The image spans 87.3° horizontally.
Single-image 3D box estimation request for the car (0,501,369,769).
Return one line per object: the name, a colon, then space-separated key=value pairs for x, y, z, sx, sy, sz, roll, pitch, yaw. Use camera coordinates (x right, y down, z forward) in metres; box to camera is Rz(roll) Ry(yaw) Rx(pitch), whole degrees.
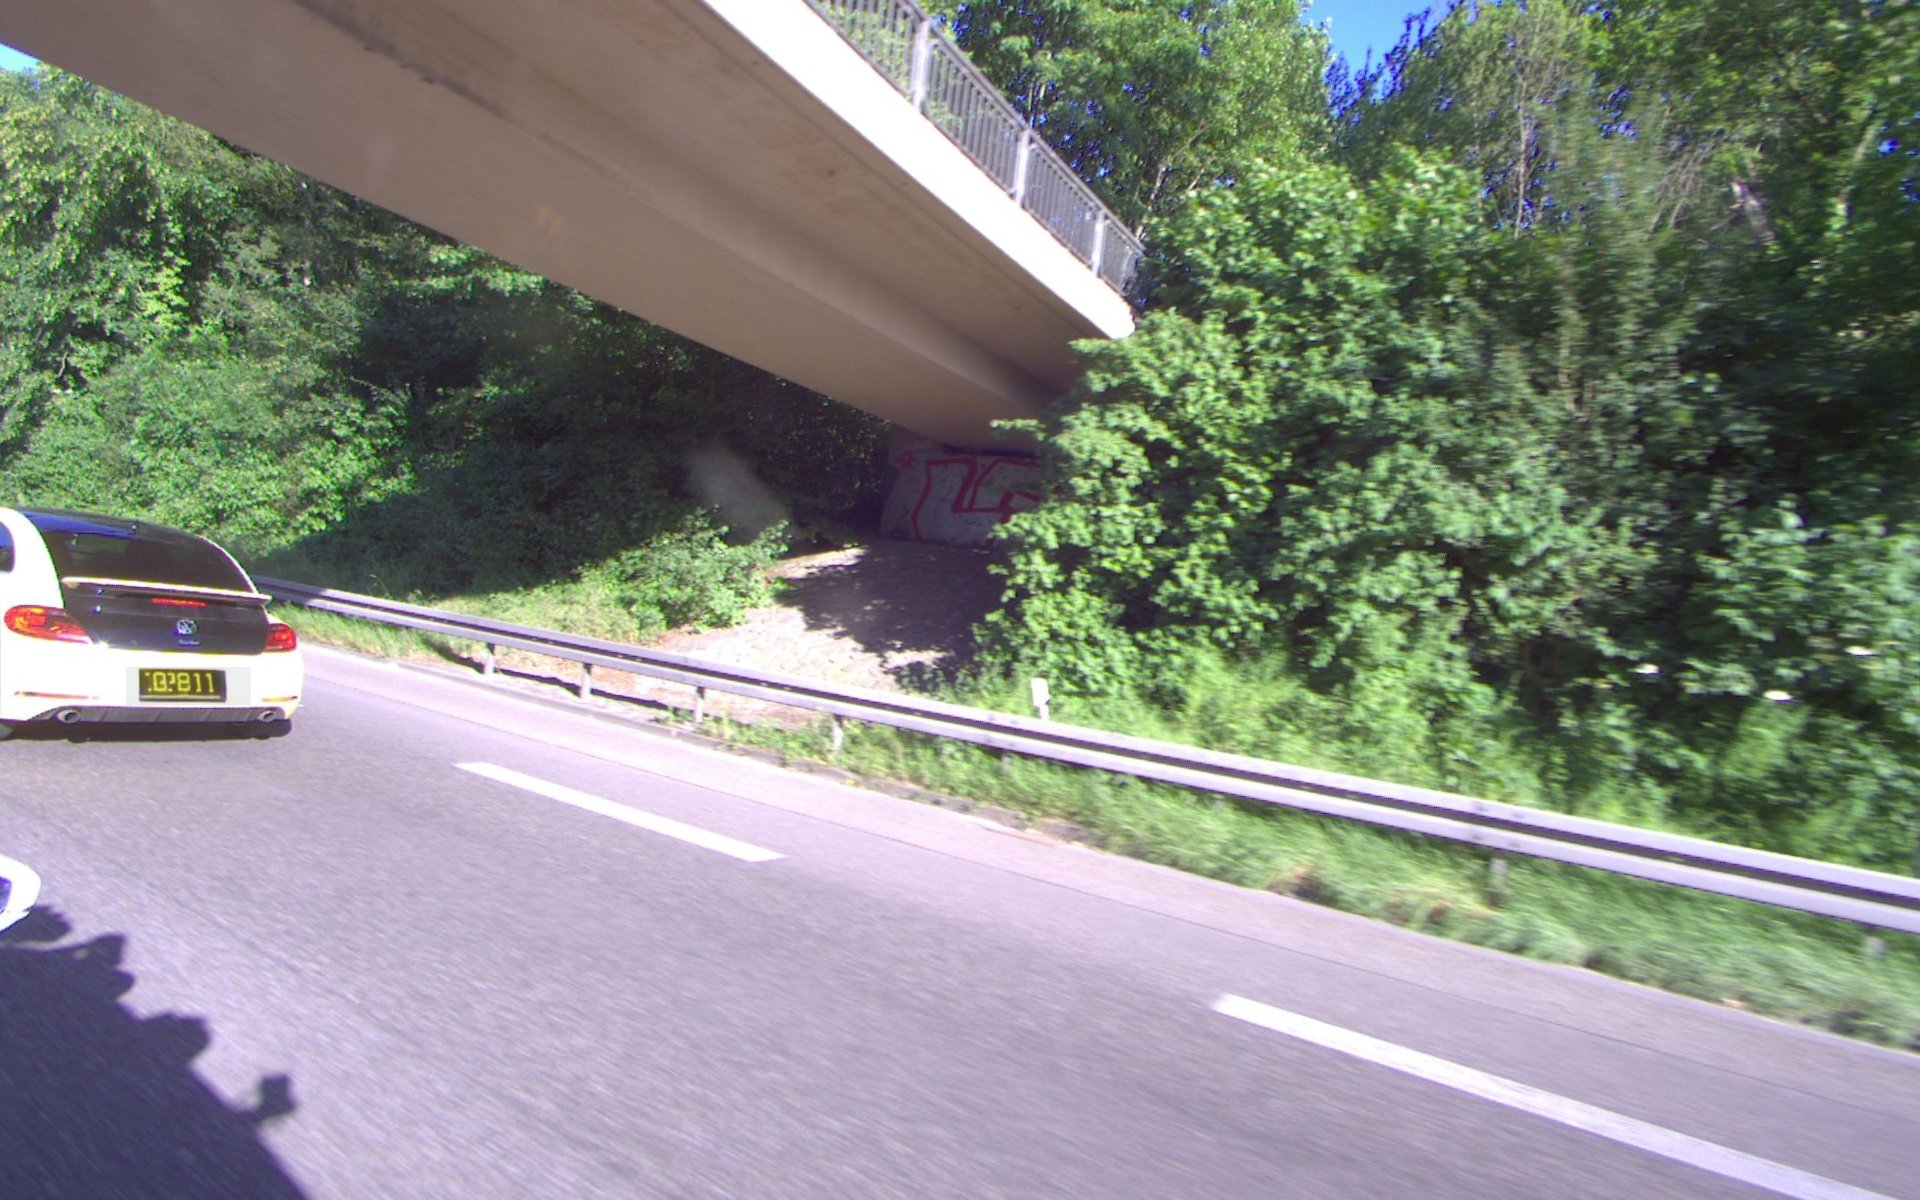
car: x=-6.658 y=0.079 z=7.514 sx=4.282 sy=1.478 sz=1.884 roll=7 pitch=-2 yaw=30
